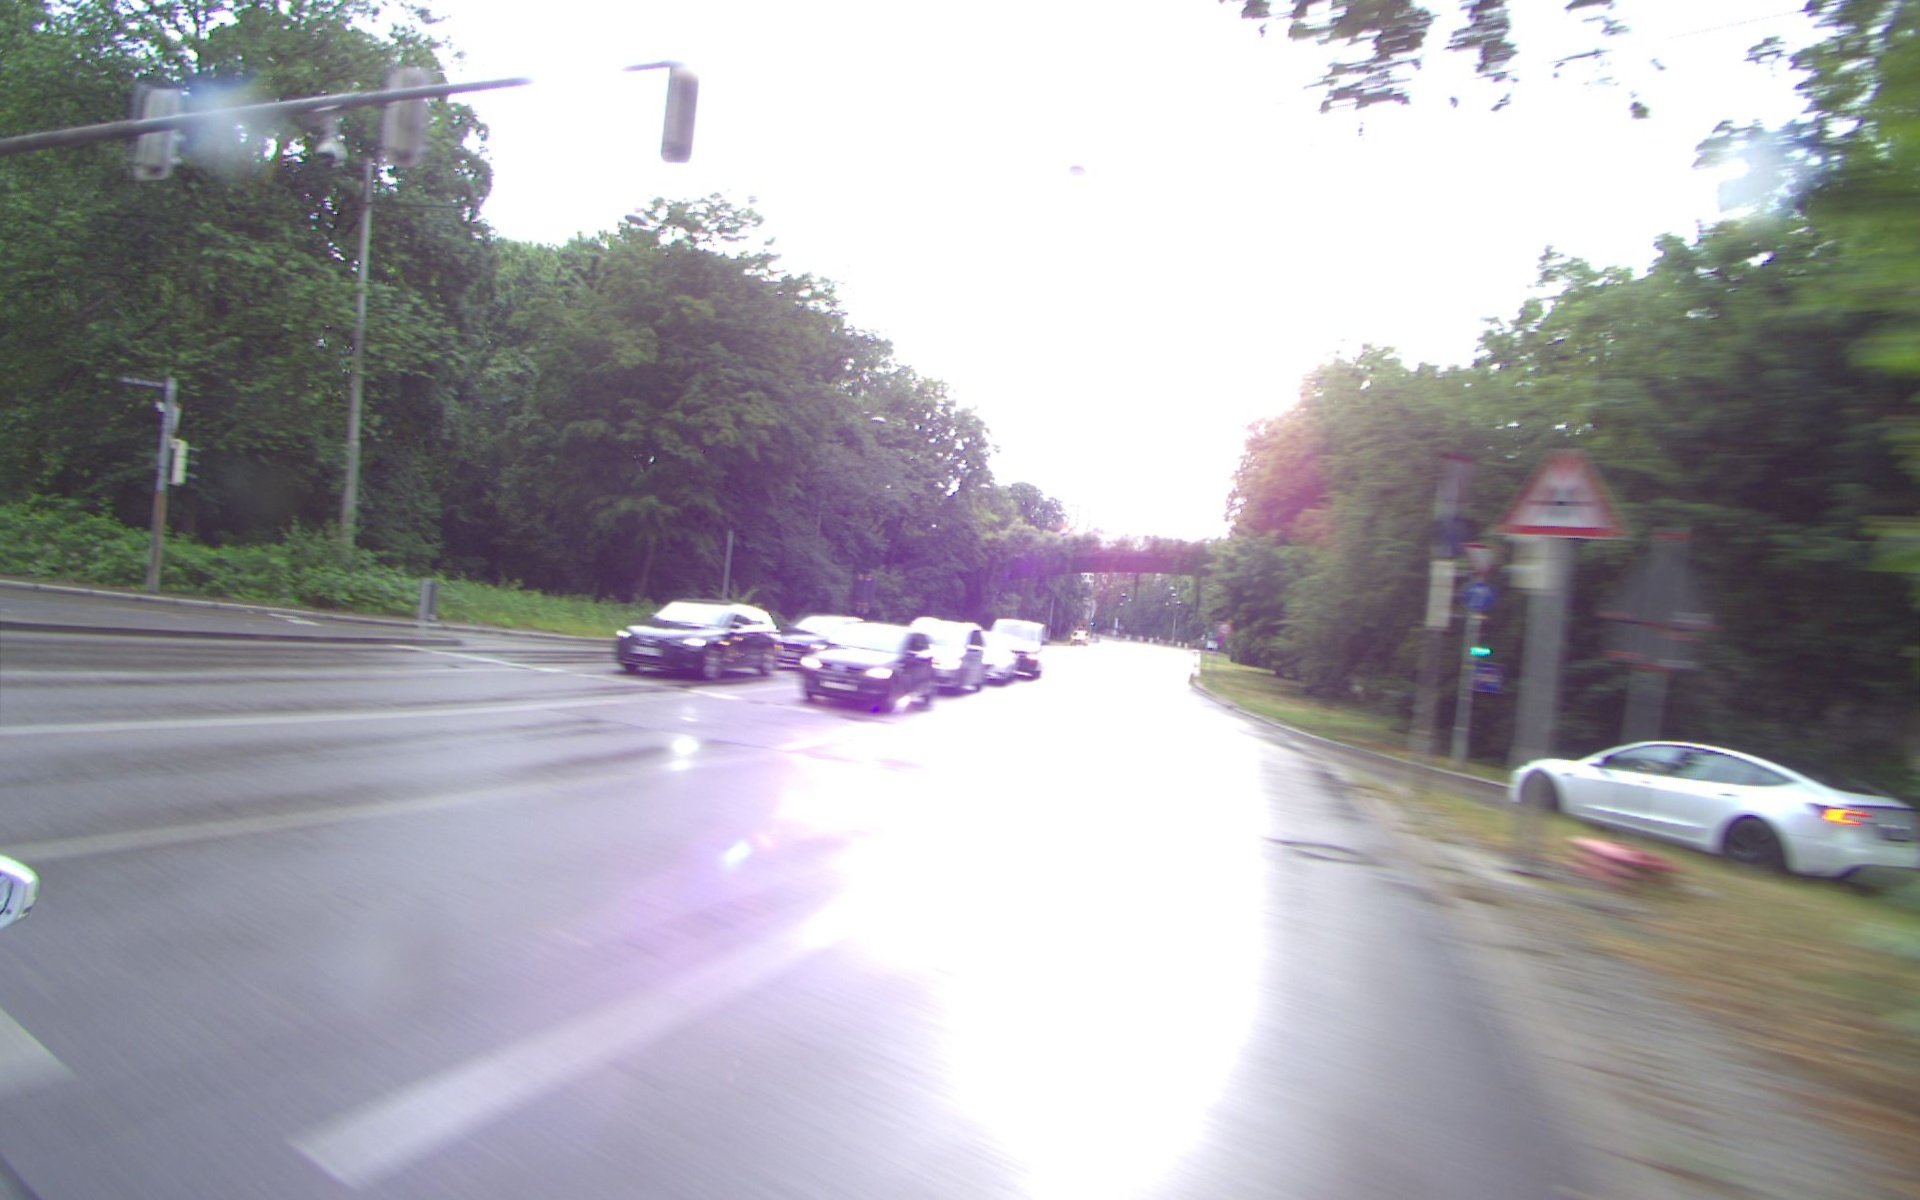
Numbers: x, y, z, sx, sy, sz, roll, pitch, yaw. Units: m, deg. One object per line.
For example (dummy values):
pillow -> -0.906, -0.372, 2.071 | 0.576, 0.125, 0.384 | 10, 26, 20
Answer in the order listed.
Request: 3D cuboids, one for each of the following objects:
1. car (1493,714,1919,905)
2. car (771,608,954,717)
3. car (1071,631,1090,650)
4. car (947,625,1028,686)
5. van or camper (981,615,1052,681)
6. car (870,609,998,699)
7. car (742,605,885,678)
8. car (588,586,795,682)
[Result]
car -> 9.503, 2.520, 12.951 | 1.831, 1.466, 4.602 | 6, -1, -18
car -> -1.570, 1.079, 17.929 | 1.759, 1.478, 4.203 | 7, -1, 15
car -> 15.455, 5.149, 128.621 | 1.849, 1.996, 3.893 | 7, -3, 12
car -> 0.891, 1.676, 30.124 | 1.626, 1.478, 3.870 | 8, -2, 11
van or camper -> 2.122, 1.749, 36.309 | 1.871, 1.969, 4.872 | 8, -2, 9
car -> -0.501, 1.239, 23.756 | 1.871, 1.700, 4.214 | 7, -1, 13
car -> -3.509, 1.060, 25.023 | 1.795, 1.419, 4.450 | 7, -1, 15
car -> -4.970, 0.684, 19.334 | 1.913, 1.458, 4.216 | 6, -1, 15
